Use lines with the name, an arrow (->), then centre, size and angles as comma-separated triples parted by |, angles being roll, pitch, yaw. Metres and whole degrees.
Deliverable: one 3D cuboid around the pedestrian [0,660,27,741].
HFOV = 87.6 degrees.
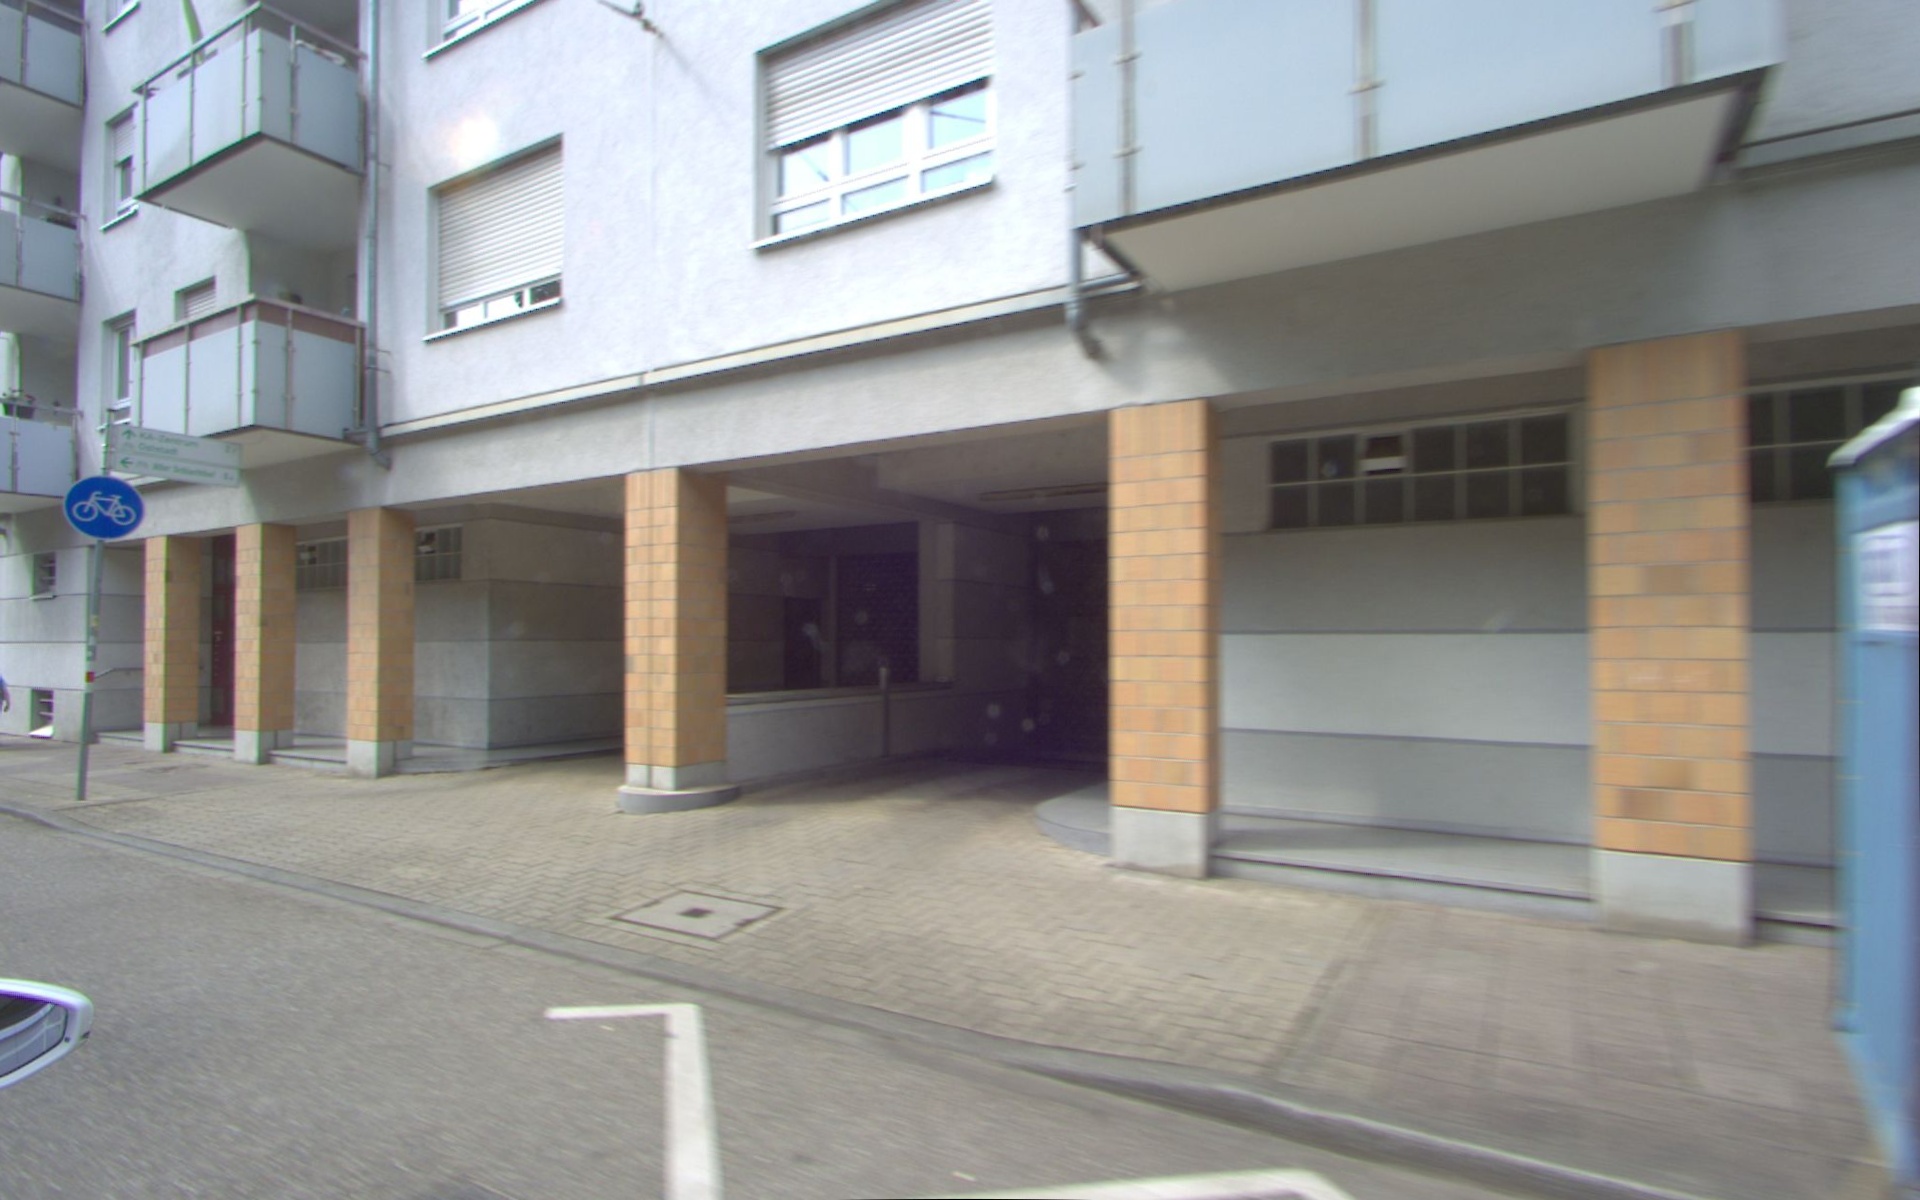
pedestrian -> -14.005, 1.457, 14.620 | 0.487, 1.149, 0.455 | -1, -1, 32
